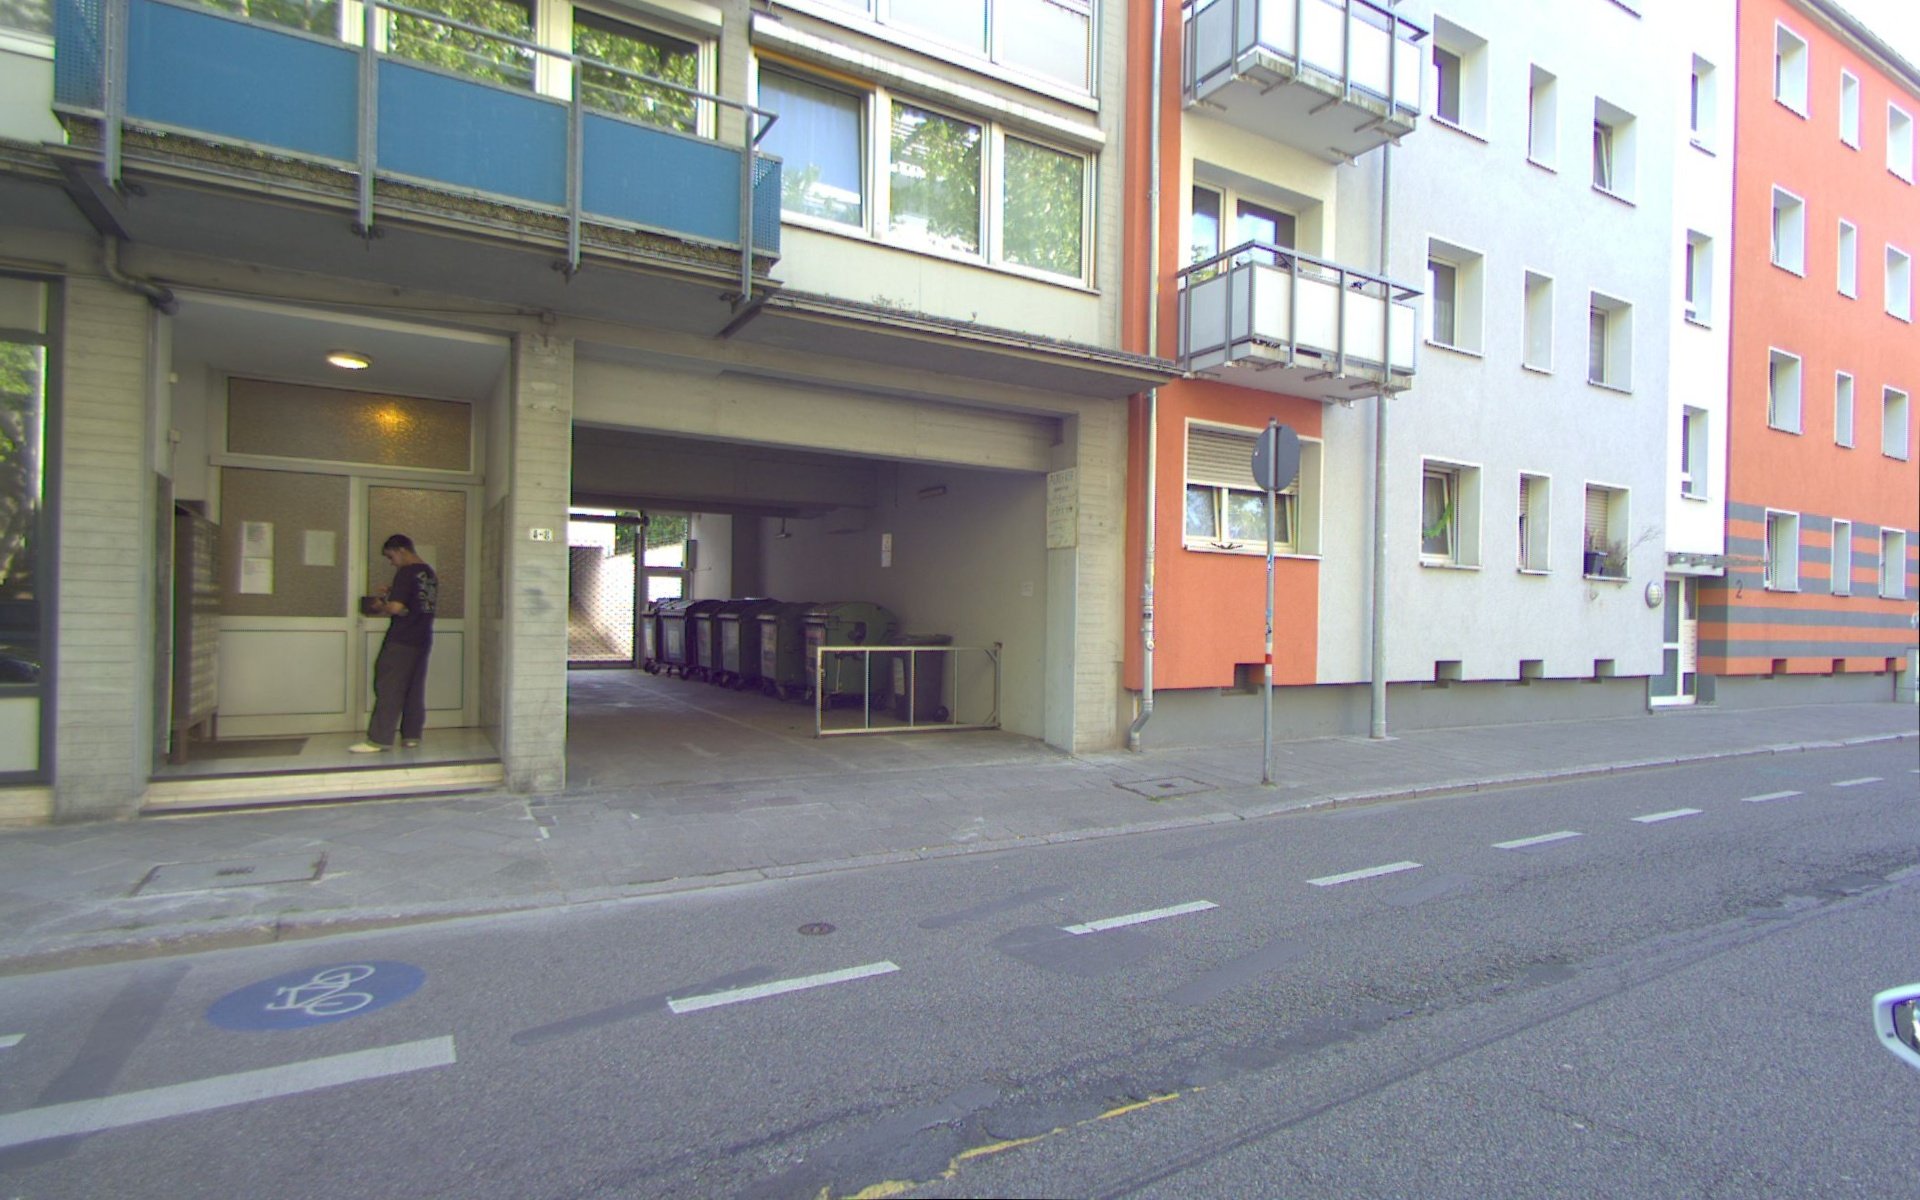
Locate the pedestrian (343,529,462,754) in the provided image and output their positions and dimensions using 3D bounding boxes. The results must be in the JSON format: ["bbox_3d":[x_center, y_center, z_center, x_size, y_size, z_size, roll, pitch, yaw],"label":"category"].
[{"bbox_3d":[-4.481,0.324,8.111,0.537,1.736,0.662,1,0,3],"label":"pedestrian"}]

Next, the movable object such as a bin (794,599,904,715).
[{"bbox_3d":[-1.538,0.744,13.787,1.086,1.503,1.251,1,0,-30],"label":"movable object such as a bin"}]

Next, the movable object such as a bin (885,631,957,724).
[{"bbox_3d":[-0.489,0.946,12.463,0.687,1.094,0.579,1,0,-30],"label":"movable object such as a bin"}]

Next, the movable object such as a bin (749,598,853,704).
[{"bbox_3d":[-2.412,0.735,15.163,1.167,1.503,1.252,1,0,-30],"label":"movable object such as a bin"}]

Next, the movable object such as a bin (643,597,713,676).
[{"bbox_3d":[-5.586,0.712,19.892,1.167,1.503,0.819,1,0,-30],"label":"movable object such as a bin"}]

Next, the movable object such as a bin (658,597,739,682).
[{"bbox_3d":[-4.881,0.714,18.691,1.167,1.503,1.215,1,0,-30],"label":"movable object such as a bin"}]

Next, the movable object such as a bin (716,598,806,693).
[{"bbox_3d":[-3.305,0.728,16.636,1.167,1.503,1.073,1,0,-30],"label":"movable object such as a bin"}]

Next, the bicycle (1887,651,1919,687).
[{"bbox_3d":[26.081,1.866,26.709,0.725,0.915,1.977,1,-1,-29],"label":"bicycle"}]

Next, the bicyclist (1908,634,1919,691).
[{"bbox_3d":[26.081,1.670,26.709,0.703,1.510,1.111,1,0,-30],"label":"bicyclist"}]

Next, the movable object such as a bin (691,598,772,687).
[{"bbox_3d":[-4.029,0.726,17.640,1.080,1.503,1.159,1,0,-30],"label":"movable object such as a bin"}]
